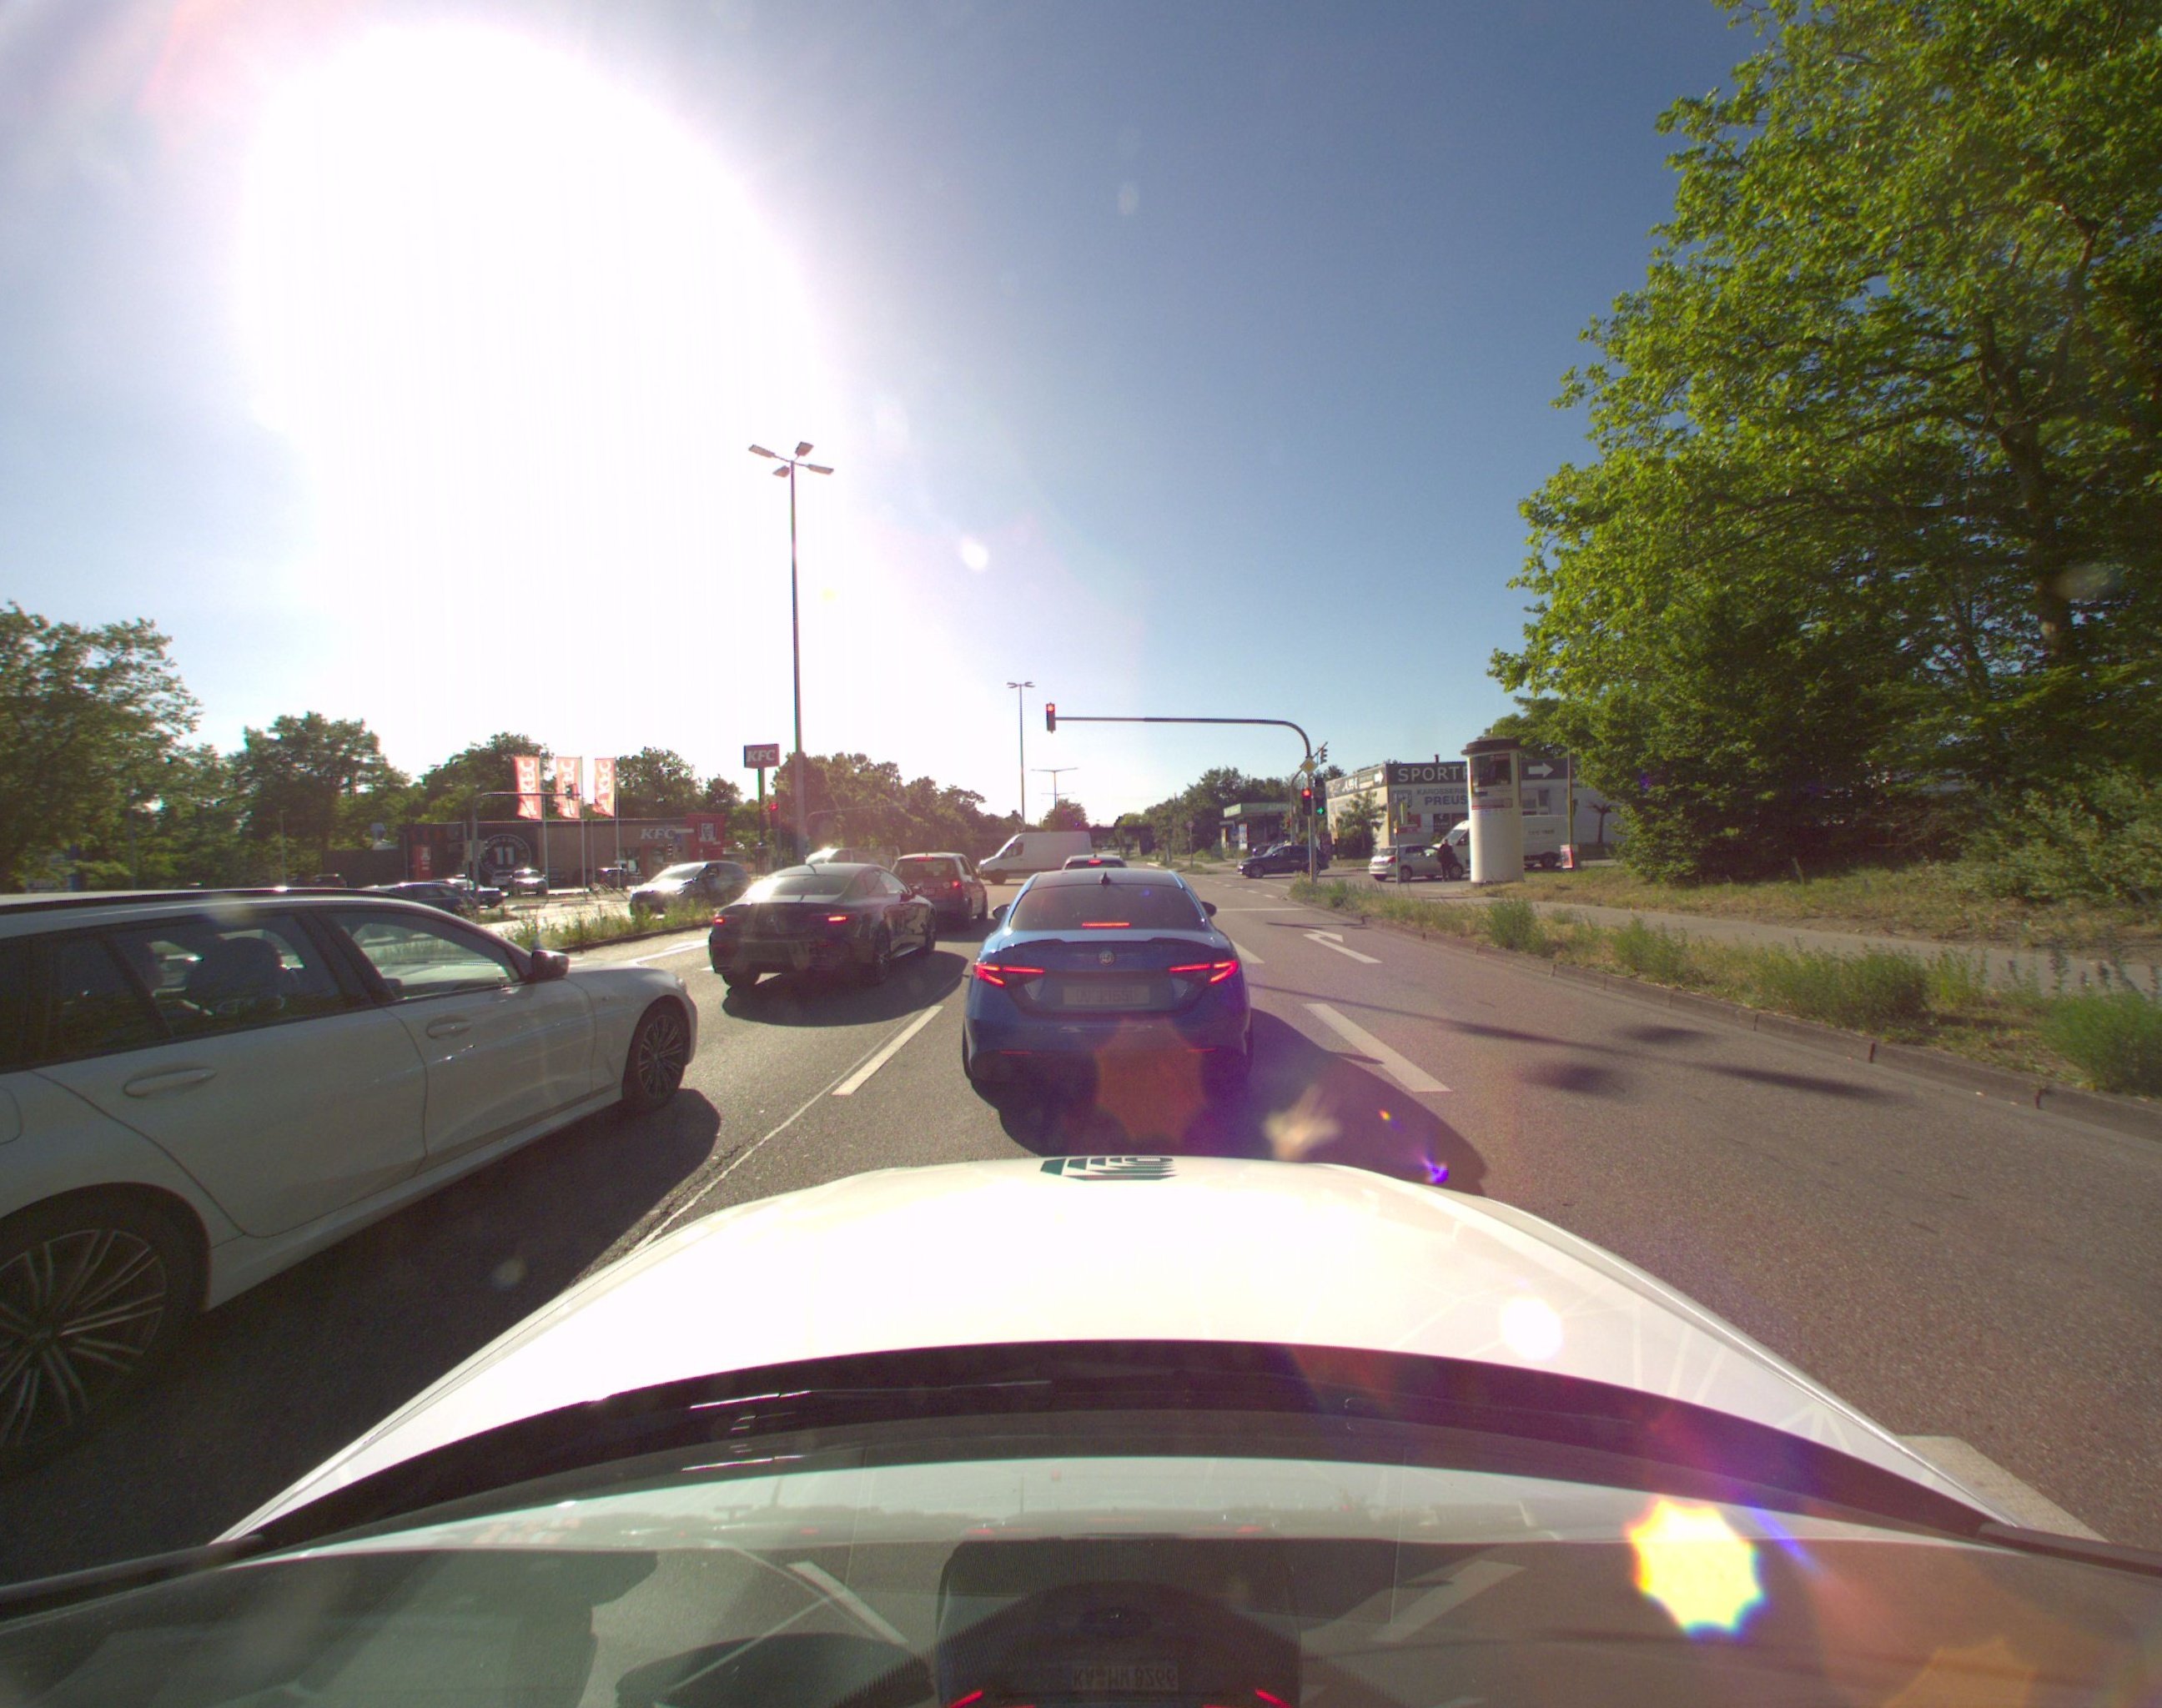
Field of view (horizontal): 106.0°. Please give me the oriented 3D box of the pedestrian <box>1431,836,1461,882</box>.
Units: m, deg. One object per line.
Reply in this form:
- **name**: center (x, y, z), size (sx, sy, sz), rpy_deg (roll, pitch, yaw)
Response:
- **pedestrian**: center (14.123, 0.180, 31.514), size (0.818, 1.721, 0.856), rpy_deg (-2, 0, 9)

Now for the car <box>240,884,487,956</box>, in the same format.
- **car**: center (-18.229, 1.612, 21.060), size (1.893, 1.446, 4.618), rpy_deg (-1, 0, 8)

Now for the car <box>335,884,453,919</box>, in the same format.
- **car**: center (-32.131, 2.226, 38.164), size (4.019, 1.429, 1.826), rpy_deg (-1, 0, 3)

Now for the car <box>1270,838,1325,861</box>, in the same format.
- **car**: center (17.507, -0.367, 65.860), size (3.993, 1.706, 1.687), rpy_deg (-1, 0, -15)

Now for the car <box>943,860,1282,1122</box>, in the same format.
- **car**: center (0.235, 0.782, 6.499), size (1.859, 1.385, 3.933), rpy_deg (-1, 0, 2)

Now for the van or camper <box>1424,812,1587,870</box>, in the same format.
- **van or camper**: center (20.320, -0.632, 39.198), size (6.708, 2.572, 2.186), rpy_deg (-1, 0, 1)

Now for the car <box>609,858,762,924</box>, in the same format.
- **car**: center (-11.570, 1.023, 24.226), size (1.868, 1.690, 4.446), rpy_deg (-2, 0, 8)

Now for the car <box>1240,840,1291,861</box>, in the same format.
- **car**: center (16.037, -0.298, 70.754), size (3.997, 1.706, 1.685), rpy_deg (-1, 0, -18)

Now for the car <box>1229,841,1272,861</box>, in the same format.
- **car**: center (15.380, -0.262, 73.963), size (3.489, 1.706, 1.687), rpy_deg (-1, 0, -14)

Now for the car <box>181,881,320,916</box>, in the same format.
- **car**: center (-39.253, 2.072, 38.573), size (4.701, 1.429, 1.865), rpy_deg (-1, 1, 2)

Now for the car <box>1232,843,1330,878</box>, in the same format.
- **car**: center (10.326, 0.312, 42.282), size (4.583, 1.653, 2.000), rpy_deg (-1, 0, 0)

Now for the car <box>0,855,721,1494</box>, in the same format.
- **car**: center (-3.434, 0.792, 3.355), size (1.762, 1.509, 4.463), rpy_deg (-1, 0, 2)

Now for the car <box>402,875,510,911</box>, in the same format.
- **car**: center (-31.926, 1.977, 41.687), size (4.025, 1.595, 1.824), rpy_deg (-1, 0, -1)

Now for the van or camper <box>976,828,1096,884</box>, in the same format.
- **van or camper**: center (-2.328, 0.077, 41.772), size (5.937, 2.651, 1.993), rpy_deg (-1, 0, -10)

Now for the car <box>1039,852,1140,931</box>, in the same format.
- **car**: center (0.227, 0.696, 17.191), size (1.859, 1.450, 3.933), rpy_deg (-1, 0, 2)

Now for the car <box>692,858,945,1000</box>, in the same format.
- **car**: center (-3.147, 0.807, 10.828), size (1.762, 1.414, 4.463), rpy_deg (-1, 0, 2)

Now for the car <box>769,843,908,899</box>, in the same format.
- **car**: center (-9.601, 0.627, 32.615), size (1.974, 2.013, 5.058), rpy_deg (-2, 0, 38)

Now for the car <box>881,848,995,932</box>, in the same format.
- **car**: center (-2.988, 0.692, 17.779), size (1.642, 1.598, 3.933), rpy_deg (-1, 0, 2)

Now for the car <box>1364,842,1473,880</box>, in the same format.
- **car**: center (14.168, 0.284, 34.223), size (3.982, 1.477, 1.733), rpy_deg (-1, 0, -13)
